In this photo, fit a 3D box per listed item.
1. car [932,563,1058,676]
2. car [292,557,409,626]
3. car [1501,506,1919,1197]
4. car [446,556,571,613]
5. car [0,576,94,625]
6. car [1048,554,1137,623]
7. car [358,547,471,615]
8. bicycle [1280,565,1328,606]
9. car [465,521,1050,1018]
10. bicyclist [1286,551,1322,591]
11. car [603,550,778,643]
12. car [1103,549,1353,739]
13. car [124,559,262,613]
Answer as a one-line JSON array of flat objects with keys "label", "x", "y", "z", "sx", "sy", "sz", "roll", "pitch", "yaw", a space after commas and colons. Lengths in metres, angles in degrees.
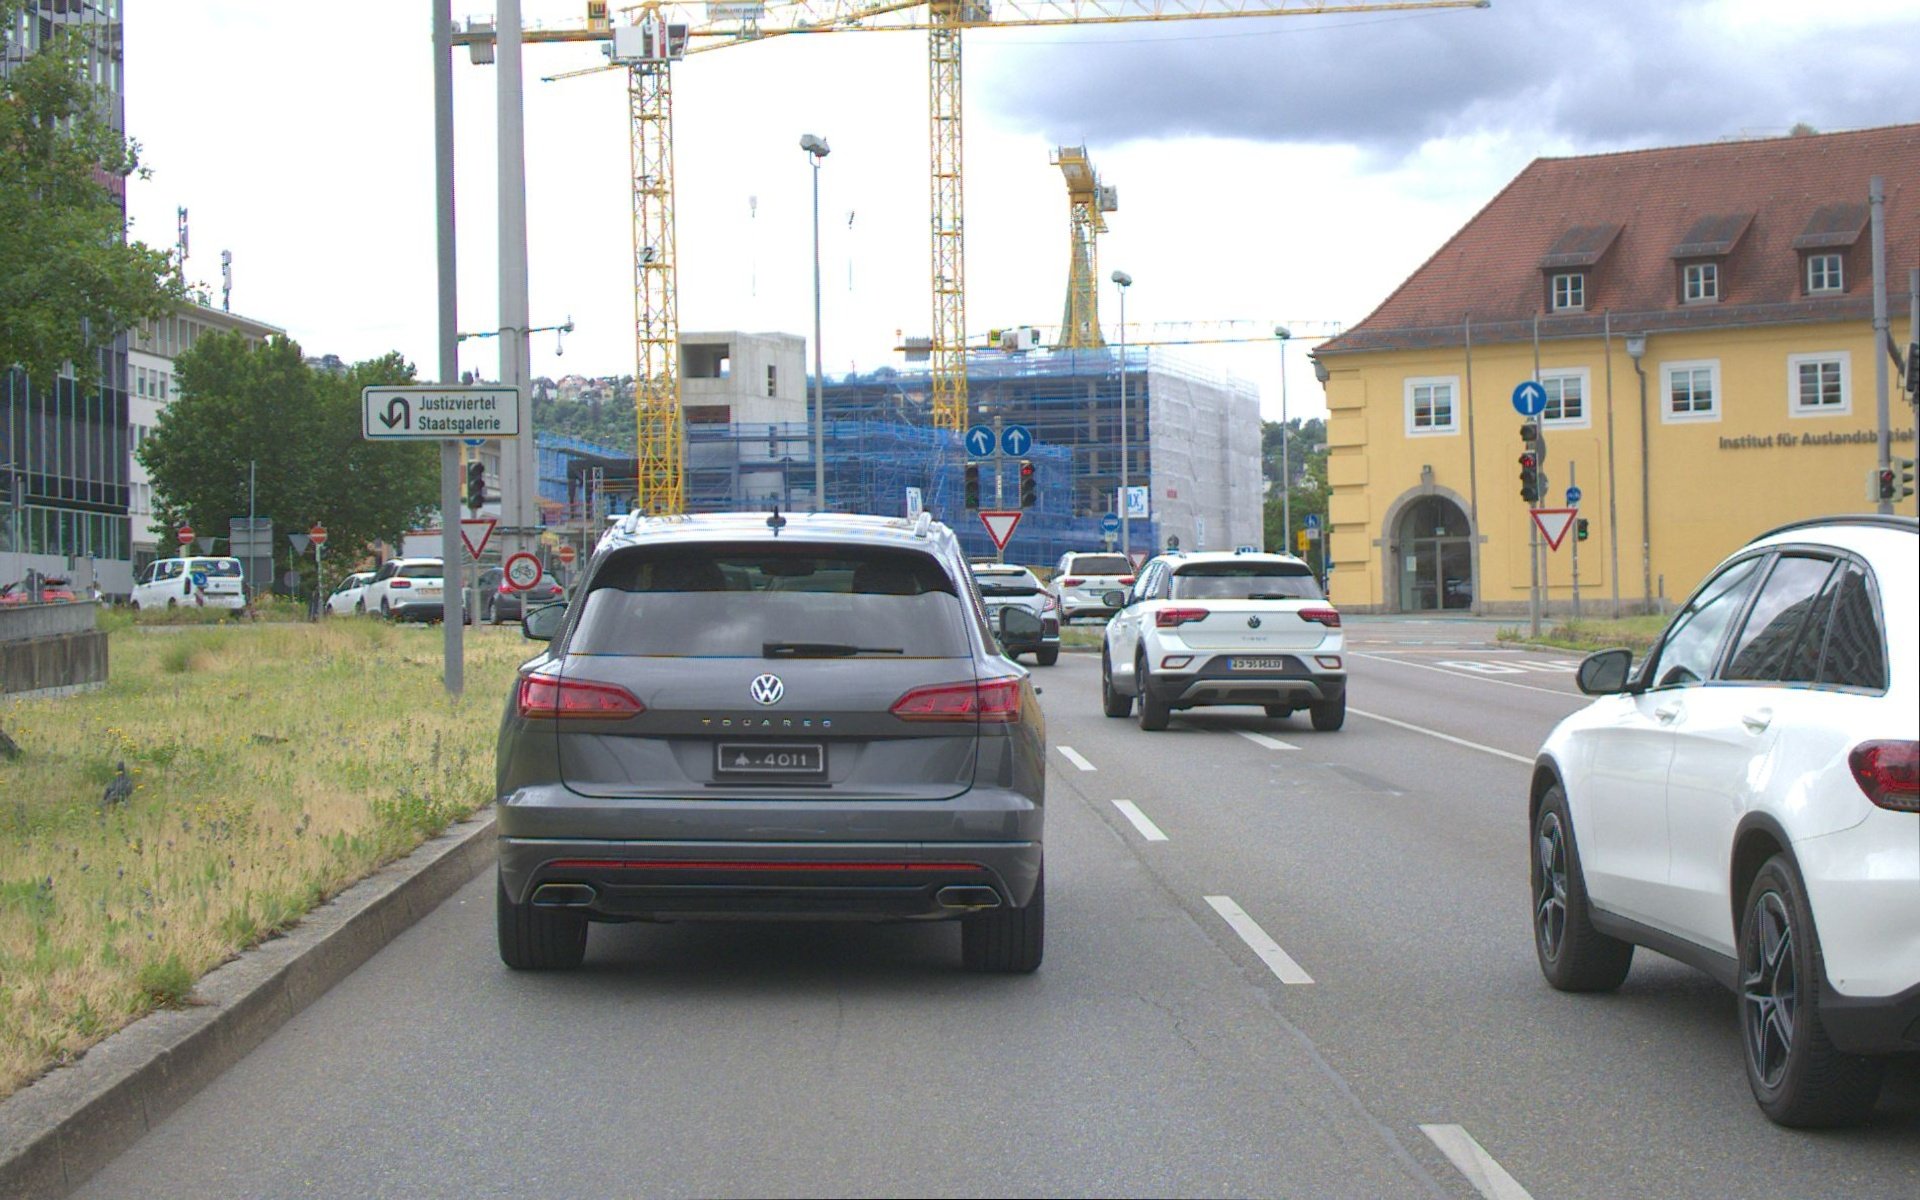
[{"label": "car", "x": 0.479, "y": 0.239, "z": 48.974, "sx": 1.719, "sy": 1.497, "sz": 4.144, "roll": 0, "pitch": 1, "yaw": 0}, {"label": "car", "x": -17.715, "y": -0.265, "z": 99.855, "sx": 1.894, "sy": 1.605, "sz": 4.001, "roll": -3, "pitch": 6, "yaw": -34}, {"label": "car", "x": 2.949, "y": 0.551, "z": 10.368, "sx": 1.819, "sy": 1.641, "sz": 4.379, "roll": 0, "pitch": 1, "yaw": -2}, {"label": "car", "x": -11.254, "y": -0.397, "z": 85.575, "sx": 1.640, "sy": 1.392, "sz": 3.597, "roll": 0, "pitch": 1, "yaw": -35}, {"label": "car", "x": -29.166, "y": -0.003, "z": 108.881, "sx": 1.719, "sy": 1.497, "sz": 3.979, "roll": -1, "pitch": 1, "yaw": -42}, {"label": "car", "x": 2.985, "y": -0.279, "z": 78.249, "sx": 1.803, "sy": 1.497, "sz": 3.981, "roll": 0, "pitch": 1, "yaw": -1}, {"label": "car", "x": -12.645, "y": -0.459, "z": 79.515, "sx": 1.814, "sy": 1.491, "sz": 3.907, "roll": 0, "pitch": 1, "yaw": -21}, {"label": "bicycle", "x": 9.924, "y": -0.412, "z": 99.251, "sx": 0.923, "sy": 1.155, "sz": 2.465, "roll": 1, "pitch": 1, "yaw": -5}, {"label": "car", "x": -0.708, "y": 0.519, "z": 13.377, "sx": 1.933, "sy": 1.641, "sz": 4.000, "roll": 0, "pitch": 1, "yaw": -1}, {"label": "bicyclist", "x": 9.928, "y": -0.840, "z": 99.241, "sx": 0.923, "sy": 1.155, "sz": 0.725, "roll": 1, "pitch": 0, "yaw": -5}, {"label": "car", "x": -4.116, "y": -0.074, "z": 51.952, "sx": 1.792, "sy": 1.352, "sz": 4.071, "roll": 0, "pitch": 1, "yaw": -17}, {"label": "car", "x": 2.348, "y": 0.349, "z": 30.973, "sx": 1.893, "sy": 1.580, "sz": 3.801, "roll": 0, "pitch": 1, "yaw": -1}, {"label": "car", "x": -22.404, "y": -0.428, "z": 100.332, "sx": 2.245, "sy": 1.497, "sz": 4.610, "roll": -1, "pitch": 1, "yaw": -37}]
